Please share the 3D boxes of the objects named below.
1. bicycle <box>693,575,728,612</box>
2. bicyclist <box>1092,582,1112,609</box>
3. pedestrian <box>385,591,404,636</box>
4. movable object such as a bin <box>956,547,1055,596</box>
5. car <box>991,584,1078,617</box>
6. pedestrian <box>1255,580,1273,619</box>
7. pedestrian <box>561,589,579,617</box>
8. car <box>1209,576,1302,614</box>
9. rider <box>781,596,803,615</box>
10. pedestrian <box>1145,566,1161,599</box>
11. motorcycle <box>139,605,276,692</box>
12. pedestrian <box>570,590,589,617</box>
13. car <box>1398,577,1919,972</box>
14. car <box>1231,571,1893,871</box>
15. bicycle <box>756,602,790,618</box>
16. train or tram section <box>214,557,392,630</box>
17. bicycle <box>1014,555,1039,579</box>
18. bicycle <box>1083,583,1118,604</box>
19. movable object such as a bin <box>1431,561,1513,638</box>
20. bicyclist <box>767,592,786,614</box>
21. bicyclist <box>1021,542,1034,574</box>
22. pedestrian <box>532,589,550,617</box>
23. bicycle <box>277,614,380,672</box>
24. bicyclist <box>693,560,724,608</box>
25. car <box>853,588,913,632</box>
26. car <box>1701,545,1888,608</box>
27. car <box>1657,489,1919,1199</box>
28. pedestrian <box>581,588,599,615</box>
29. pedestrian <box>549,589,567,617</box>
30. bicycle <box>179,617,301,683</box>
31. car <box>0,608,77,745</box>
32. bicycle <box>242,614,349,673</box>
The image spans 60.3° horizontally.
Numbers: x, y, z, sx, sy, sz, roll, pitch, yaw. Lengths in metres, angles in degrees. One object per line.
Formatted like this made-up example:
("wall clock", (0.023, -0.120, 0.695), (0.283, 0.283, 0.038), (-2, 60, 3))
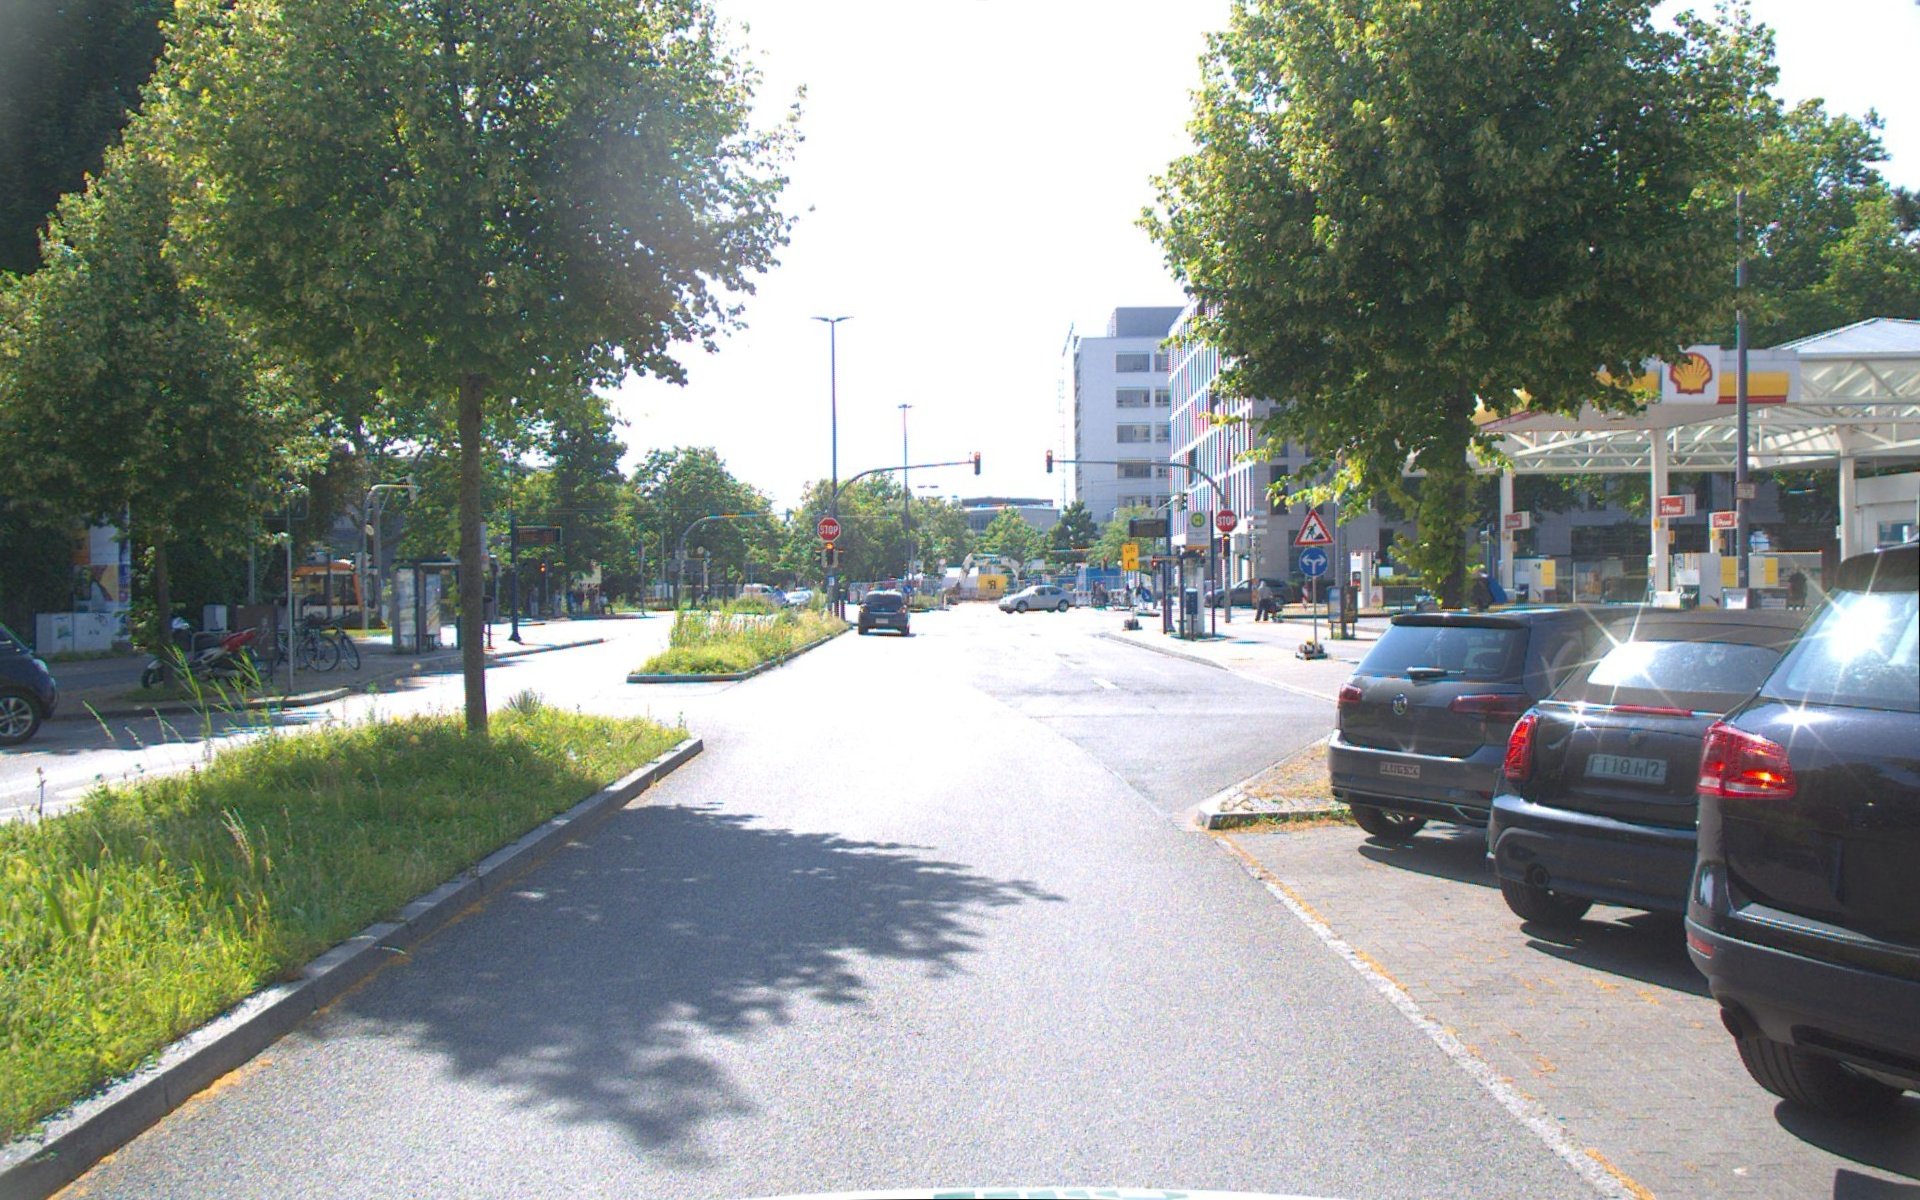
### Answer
("bicycle", (-15.710, -0.412, 104.293), (1.567, 2.308, 3.999), (-1, 0, -1))
("bicyclist", (8.906, -0.287, 103.880), (1.213, 1.702, 0.525), (0, 0, 7))
("pedestrian", (-22.585, 0.531, 66.063), (0.648, 1.756, 0.749), (-1, 0, -18))
("movable object such as a bin", (4.383, -2.767, 159.508), (9.475, 4.629, 3.164), (0, 0, 1))
("car", (4.007, 0.013, 89.328), (4.308, 1.667, 1.992), (-1, 0, -15))
("pedestrian", (12.132, -0.015, 66.044), (0.606, 1.570, 0.461), (0, 0, -2))
("pedestrian", (-23.324, 0.169, 98.940), (0.641, 1.639, 0.942), (0, 0, 22))
("car", (16.385, -0.284, 91.861), (4.757, 2.049, 1.999), (0, 0, -3))
("rider", (-11.285, 0.370, 111.183), (1.363, 1.216, 2.696), (0, 0, -3))
("pedestrian", (12.001, -1.113, 102.915), (0.763, 2.049, 0.776), (0, 0, 28))
("motorcycle", (-11.738, 0.739, 25.838), (1.810, 1.307, 0.692), (-1, 0, -8))
("pedestrian", (-22.606, 0.202, 98.210), (0.641, 1.639, 0.942), (0, 0, 22))
("car", (4.198, 0.642, 8.067), (3.945, 1.499, 1.751), (-1, 0, -31))
("car", (3.903, 0.608, 10.560), (4.067, 1.557, 1.977), (-1, 0, -34))
("bicycle", (-11.133, 0.604, 98.330), (1.966, 0.899, 0.525), (-1, 0, -14))
("train or tram section", (-32.180, -0.329, 81.240), (7.404, 3.390, 3.118), (-1, 0, -2))
("bicycle", (5.582, -2.776, 138.253), (2.044, 1.996, 0.828), (0, 0, 5))
("bicycle", (8.831, -0.392, 103.892), (2.181, 1.307, 0.525), (0, 0, 7))
("movable object such as a bin", (11.411, -0.017, 36.900), (1.281, 1.620, 1.395), (-3, 0, -3))
("bicyclist", (-10.913, 0.162, 98.399), (1.034, 1.297, 0.490), (-1, 0, -14))
("bicyclist", (5.670, -3.489, 138.249), (1.047, 2.619, 0.828), (0, 0, 5))
("pedestrian", (-24.957, 0.193, 98.531), (0.641, 1.639, 0.942), (0, 0, 22))
("bicycle", (-12.806, 0.868, 33.551), (1.807, 1.142, 0.693), (0, 0, 0))
("bicyclist", (-15.699, -1.008, 103.486), (1.567, 2.982, 2.353), (-1, 0, -1))
("car", (-2.655, 0.311, 56.504), (1.954, 1.422, 3.997), (-1, 0, -4))
("car", (38.469, -1.106, 76.343), (7.282, 2.721, 2.901), (-1, 1, -4))
("car", (4.241, 0.562, 4.761), (4.683, 1.689, 1.734), (-1, 0, -32))
("pedestrian", (-22.295, 0.096, 99.613), (0.652, 1.639, 0.942), (0, 0, 22))
("pedestrian", (-24.059, 0.178, 98.943), (0.641, 1.639, 0.942), (0, 0, 22))
("bicycle", (-12.543, 0.863, 28.824), (1.807, 1.111, 0.693), (0, 0, 0))
("car", (-11.773, 0.888, 17.751), (3.742, 1.448, 1.828), (-2, 0, -42))
("bicycle", (-12.985, 0.847, 32.357), (1.807, 1.125, 0.693), (0, 0, 0))
